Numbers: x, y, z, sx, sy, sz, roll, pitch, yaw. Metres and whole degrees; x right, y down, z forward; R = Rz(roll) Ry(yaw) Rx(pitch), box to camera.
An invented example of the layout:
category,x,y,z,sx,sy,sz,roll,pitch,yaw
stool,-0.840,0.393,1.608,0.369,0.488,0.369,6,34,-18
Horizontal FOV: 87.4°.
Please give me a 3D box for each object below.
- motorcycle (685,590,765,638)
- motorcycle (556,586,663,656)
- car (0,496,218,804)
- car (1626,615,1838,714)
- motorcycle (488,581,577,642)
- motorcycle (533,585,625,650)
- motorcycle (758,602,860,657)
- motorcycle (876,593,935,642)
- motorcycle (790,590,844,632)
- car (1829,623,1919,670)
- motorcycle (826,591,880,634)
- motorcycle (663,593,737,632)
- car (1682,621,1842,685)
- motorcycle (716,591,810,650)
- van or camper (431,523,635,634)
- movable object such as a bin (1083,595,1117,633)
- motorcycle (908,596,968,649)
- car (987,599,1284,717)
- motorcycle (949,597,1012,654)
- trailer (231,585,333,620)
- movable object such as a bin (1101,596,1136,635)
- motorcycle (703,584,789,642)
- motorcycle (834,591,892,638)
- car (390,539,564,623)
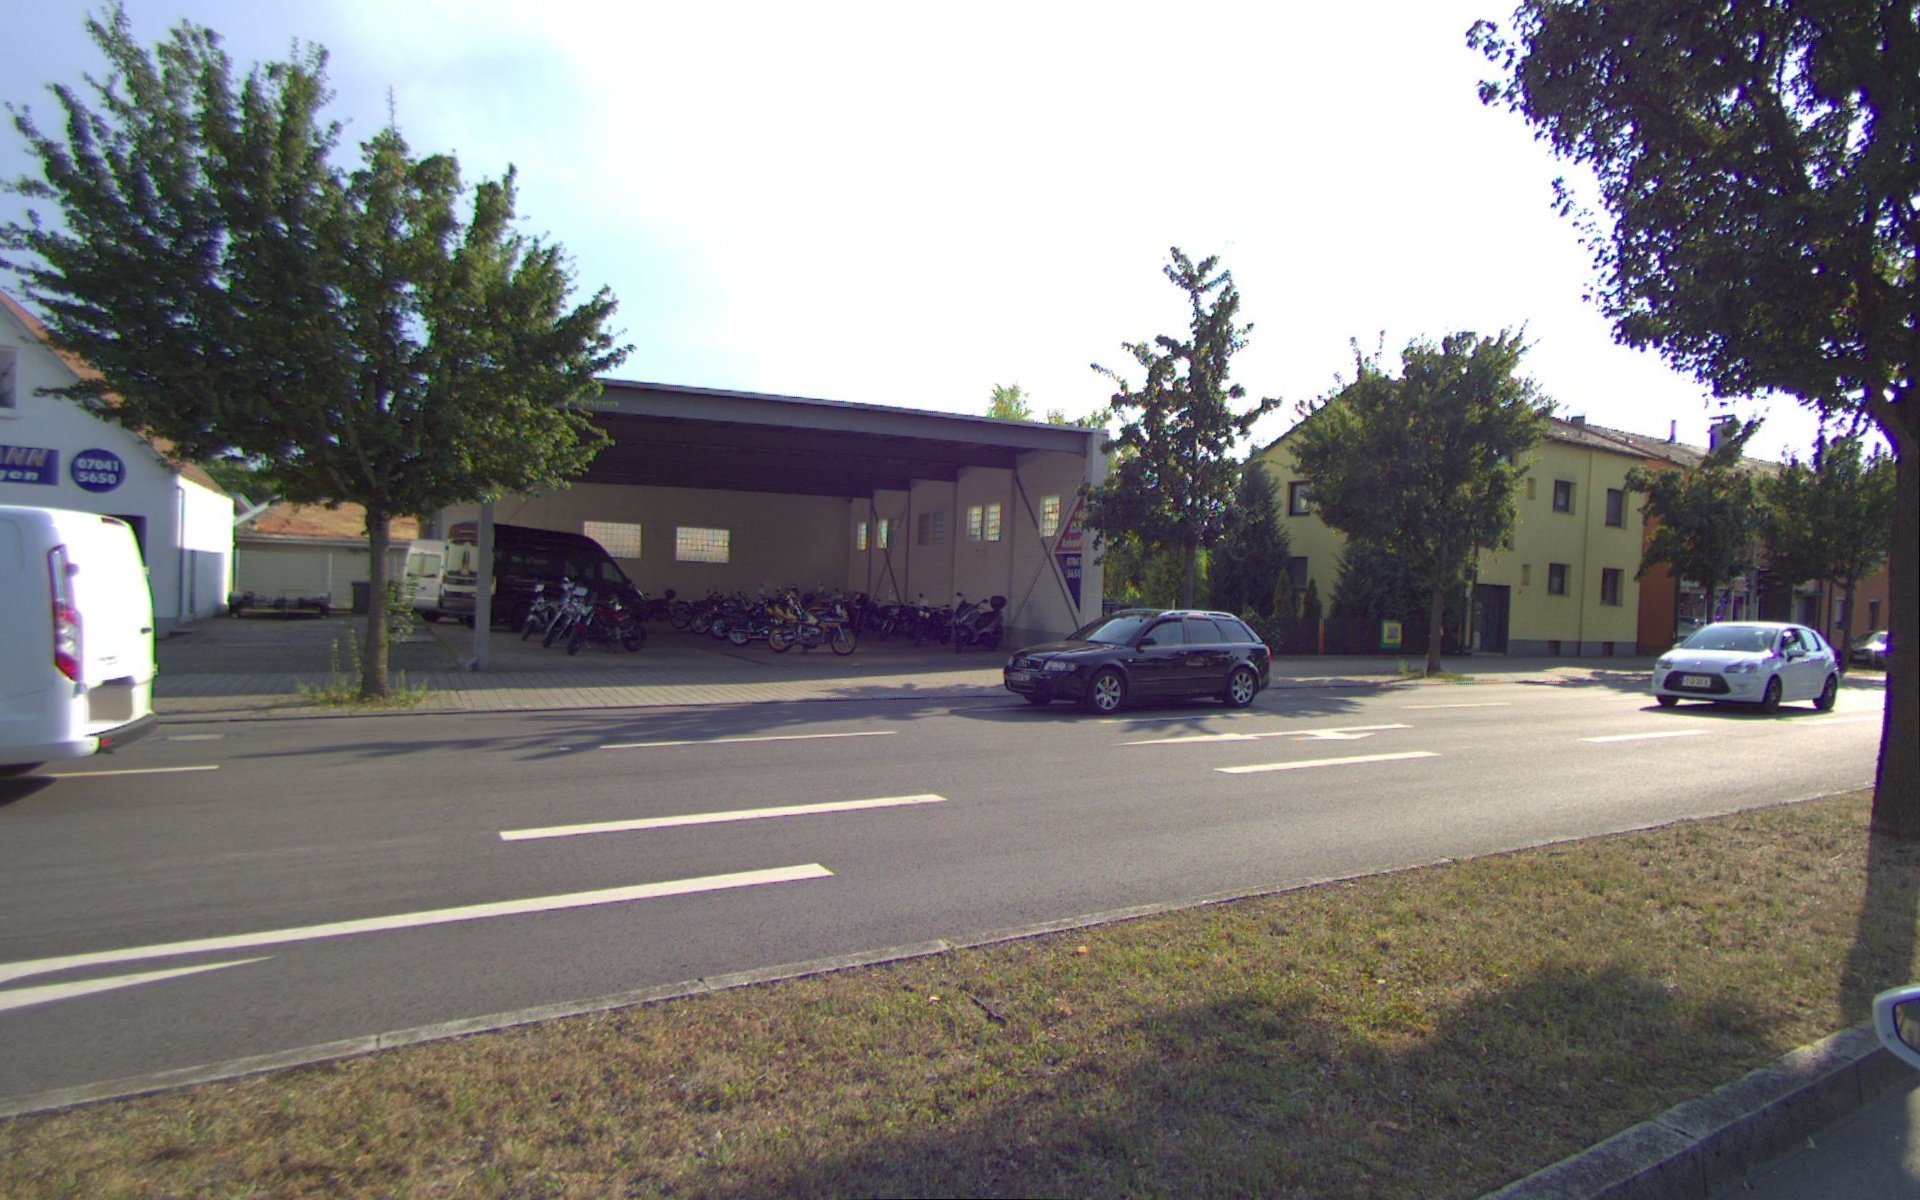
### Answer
category,x,y,z,sx,sy,sz,roll,pitch,yaw
motorcycle,-6.695,0.401,28.683,2.112,1.275,0.647,2,0,0
motorcycle,-7.049,0.422,20.294,0.659,1.329,2.000,2,0,36
car,-7.946,0.266,6.404,4.881,1.949,1.816,2,0,-27
car,13.729,1.090,17.820,3.914,1.517,1.790,2,0,-34
motorcycle,-9.818,0.264,23.151,0.637,1.329,2.007,2,0,23
motorcycle,-8.224,0.364,21.755,0.637,1.329,2.007,2,0,23
motorcycle,-3.323,0.651,22.209,2.112,1.139,0.631,2,0,0
motorcycle,-1.517,0.498,28.473,0.612,1.325,2.086,2,0,30
motorcycle,-4.636,0.356,32.788,0.553,1.325,2.086,2,0,30
car,35.034,1.761,38.065,3.950,1.573,1.835,2,2,-28
motorcycle,-3.368,0.392,31.746,0.553,1.325,2.086,2,0,30
motorcycle,-7.979,0.377,30.872,2.112,1.138,0.563,2,0,0
car,20.748,1.339,25.936,4.657,1.482,1.678,2,0,-31
motorcycle,-4.733,0.484,24.219,2.112,1.347,0.563,2,0,0
van or camper,-11.433,-0.516,27.340,1.962,2.716,5.034,2,0,25
movable object such as a bin,4.337,0.440,31.148,0.712,1.101,0.727,1,3,-30
motorcycle,-0.549,0.576,26.320,0.553,1.325,2.086,2,0,30
car,2.663,0.816,15.013,4.196,1.517,1.798,2,0,-30
motorcycle,0.526,0.607,24.416,0.553,1.325,2.112,2,0,30
trailer,-20.356,0.055,30.275,2.425,0.836,3.163,2,2,-33
movable object such as a bin,4.784,0.472,30.380,0.688,1.101,0.727,1,3,-30
motorcycle,-5.635,0.337,26.533,2.112,1.468,0.594,2,0,0
motorcycle,-2.852,0.437,29.687,0.573,1.325,2.086,2,0,30
car,-14.204,-0.518,29.863,2.158,2.279,4.386,2,0,19
